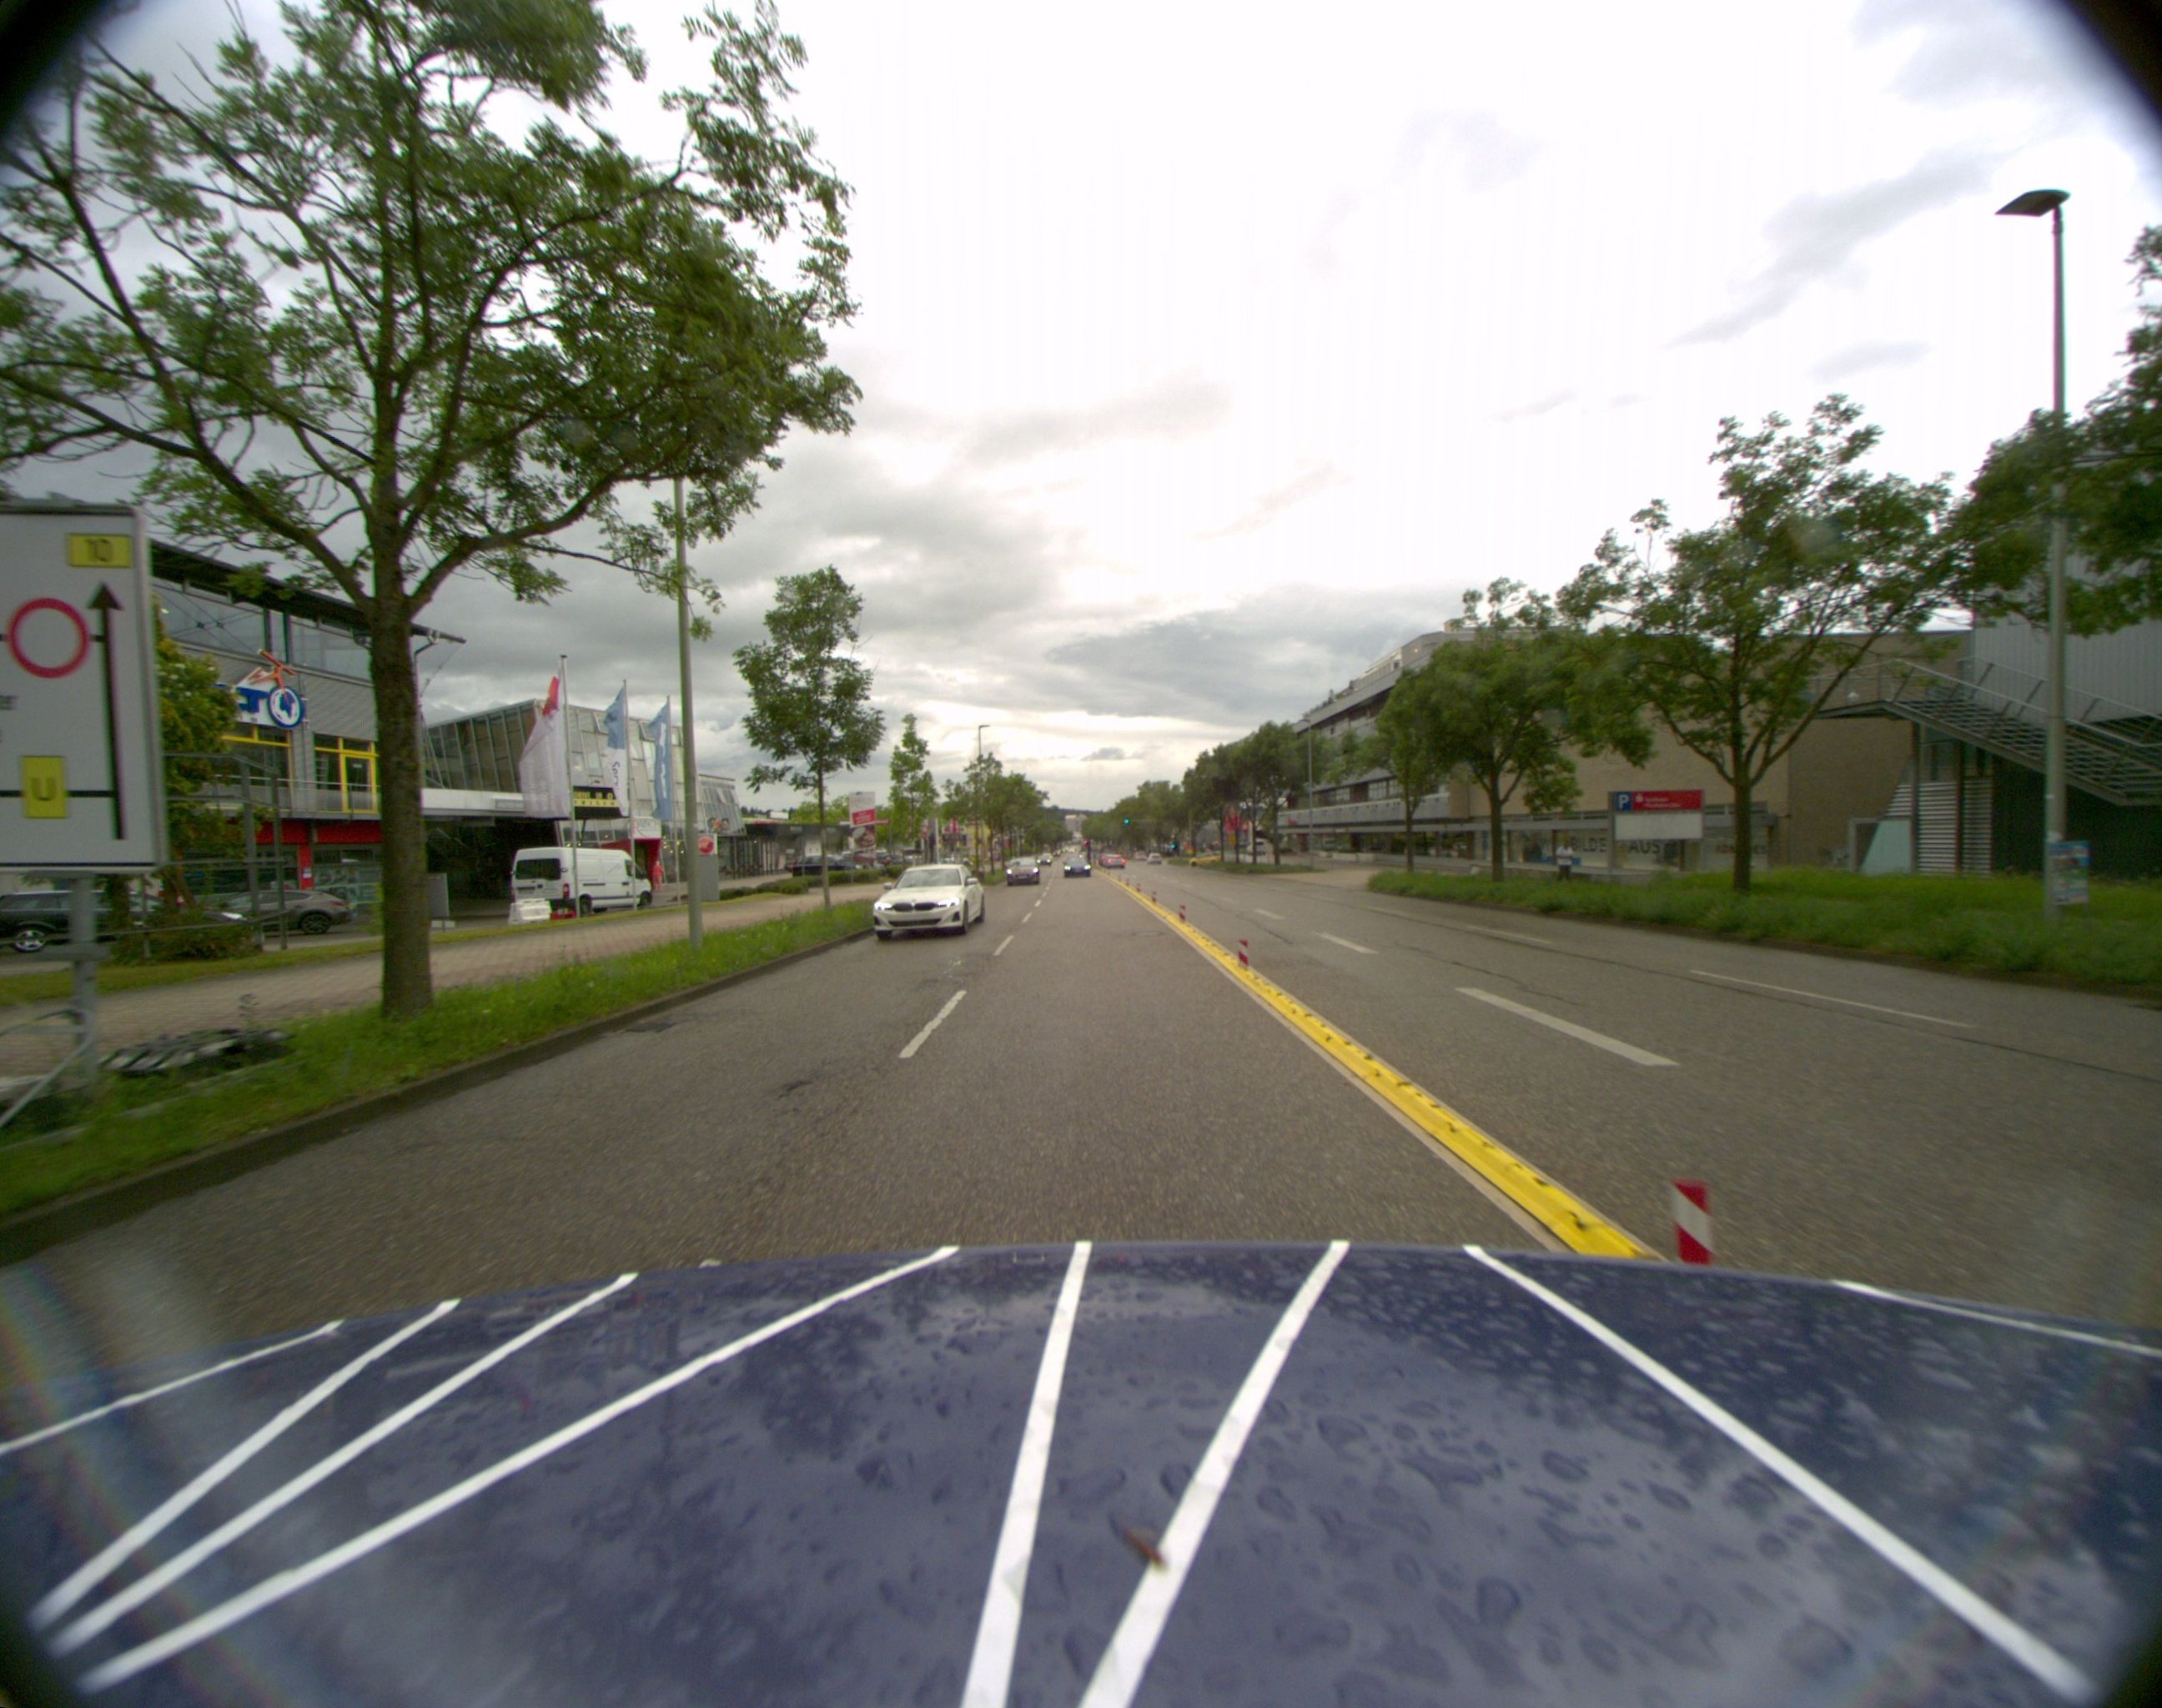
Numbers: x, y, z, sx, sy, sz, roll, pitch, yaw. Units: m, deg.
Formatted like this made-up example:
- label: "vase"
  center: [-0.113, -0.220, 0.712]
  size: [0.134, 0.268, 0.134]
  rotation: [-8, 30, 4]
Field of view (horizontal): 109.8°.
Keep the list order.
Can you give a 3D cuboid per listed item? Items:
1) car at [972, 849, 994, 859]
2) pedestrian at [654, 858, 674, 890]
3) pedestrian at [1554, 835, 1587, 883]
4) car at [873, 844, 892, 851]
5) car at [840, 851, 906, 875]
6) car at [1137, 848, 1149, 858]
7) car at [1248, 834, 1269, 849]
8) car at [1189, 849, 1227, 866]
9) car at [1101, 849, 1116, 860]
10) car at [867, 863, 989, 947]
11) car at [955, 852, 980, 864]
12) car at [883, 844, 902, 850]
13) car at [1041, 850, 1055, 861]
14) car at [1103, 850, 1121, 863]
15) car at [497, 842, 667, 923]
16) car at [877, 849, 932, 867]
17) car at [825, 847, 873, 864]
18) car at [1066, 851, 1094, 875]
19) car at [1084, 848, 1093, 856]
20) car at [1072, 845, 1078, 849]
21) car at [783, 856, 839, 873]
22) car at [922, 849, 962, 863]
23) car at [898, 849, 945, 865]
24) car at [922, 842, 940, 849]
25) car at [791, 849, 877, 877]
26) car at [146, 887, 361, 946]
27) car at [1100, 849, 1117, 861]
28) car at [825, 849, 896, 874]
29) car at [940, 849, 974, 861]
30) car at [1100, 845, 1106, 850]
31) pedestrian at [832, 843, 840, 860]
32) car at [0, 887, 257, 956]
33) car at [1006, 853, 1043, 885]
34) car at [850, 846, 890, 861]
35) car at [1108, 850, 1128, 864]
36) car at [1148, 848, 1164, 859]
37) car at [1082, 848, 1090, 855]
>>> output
- label: "car"
  center: [-18.808, 0.067, 145.205]
  size: [4.001, 1.802, 1.766]
  rotation: [-1, 1, -12]
- label: "pedestrian"
  center: [-23.962, 1.128, 43.709]
  size: [0.685, 1.750, 0.749]
  rotation: [-2, 2, -7]
- label: "pedestrian"
  center: [16.726, 0.168, 25.979]
  size: [0.586, 1.574, 0.767]
  rotation: [-4, 1, 2]
- label: "car"
  center: [-47.573, -1.608, 182.238]
  size: [4.221, 1.572, 1.823]
  rotation: [-1, 1, -1]
- label: "car"
  center: [-14.674, 0.596, 53.745]
  size: [4.178, 1.591, 1.800]
  rotation: [1, 1, 3]
- label: "car"
  center: [10.397, -0.192, 127.553]
  size: [1.745, 1.544, 4.781]
  rotation: [0, 1, 0]
- label: "car"
  center: [24.316, -1.691, 104.403]
  size: [1.998, 2.002, 4.886]
  rotation: [-2, 1, 4]
- label: "car"
  center: [13.977, 0.362, 83.889]
  size: [3.702, 1.500, 1.624]
  rotation: [-4, 2, 34]
- label: "car"
  center: [3.663, 0.021, 102.896]
  size: [1.754, 1.501, 3.999]
  rotation: [-1, 1, -1]
- label: "car"
  center: [-3.240, 1.021, 16.964]
  size: [1.808, 1.432, 4.541]
  rotation: [-3, 0, -1]
- label: "car"
  center: [-16.275, 0.563, 108.617]
  size: [1.747, 1.570, 3.864]
  rotation: [-1, -1, -41]
- label: "car"
  center: [-47.267, -1.764, 190.368]
  size: [4.221, 1.572, 1.823]
  rotation: [-1, 1, -1]
- label: "car"
  center: [-4.512, 0.154, 103.869]
  size: [1.754, 1.501, 3.999]
  rotation: [-1, 1, -1]
- label: "car"
  center: [3.537, 0.220, 85.892]
  size: [1.745, 1.398, 3.999]
  rotation: [-1, 1, -2]
- label: "car"
  center: [-17.995, 1.011, 27.865]
  size: [2.232, 2.521, 5.682]
  rotation: [-3, -1, 2]
- label: "car"
  center: [-15.086, 0.350, 65.091]
  size: [4.180, 1.464, 1.862]
  rotation: [1, 1, -1]
- label: "car"
  center: [-24.545, 0.202, 80.515]
  size: [4.507, 1.672, 1.794]
  rotation: [1, 2, -39]
- label: "car"
  center: [-0.064, 0.619, 54.690]
  size: [1.799, 1.572, 4.218]
  rotation: [-3, 0, 0]
- label: "car"
  center: [1.434, -0.448, 146.824]
  size: [1.754, 1.501, 3.999]
  rotation: [-1, 1, -1]
- label: "car"
  center: [-1.976, -2.280, 250.660]
  size: [1.754, 1.501, 3.999]
  rotation: [-1, 1, 0]
- label: "car"
  center: [-24.893, 0.945, 70.175]
  size: [4.508, 1.388, 1.794]
  rotation: [1, 2, -42]
- label: "car"
  center: [-16.339, 0.249, 89.433]
  size: [4.186, 1.570, 1.738]
  rotation: [1, 1, -39]
- label: "car"
  center: [-15.962, 0.310, 75.971]
  size: [4.191, 1.464, 1.785]
  rotation: [1, 1, -37]
- label: "car"
  center: [-35.548, -2.031, 180.249]
  size: [3.997, 1.501, 1.800]
  rotation: [-1, 1, -1]
- label: "car"
  center: [-15.206, 0.539, 46.815]
  size: [4.663, 1.591, 1.928]
  rotation: [1, 1, 10]
- label: "car"
  center: [-24.870, 1.826, 23.070]
  size: [1.779, 1.461, 4.269]
  rotation: [-3, -2, 44]
- label: "car"
  center: [3.348, 0.108, 93.027]
  size: [1.754, 1.516, 3.999]
  rotation: [-1, 1, -1]
- label: "car"
  center: [-14.667, 0.479, 50.734]
  size: [4.178, 1.591, 1.828]
  rotation: [1, 1, 3]
- label: "car"
  center: [-16.478, 0.189, 101.376]
  size: [1.738, 1.570, 4.324]
  rotation: [2, 1, 43]
- label: "car"
  center: [6.750, -2.061, 233.587]
  size: [1.754, 1.566, 3.999]
  rotation: [-1, 1, -1]
- label: "pedestrian"
  center: [-28.164, -0.279, 87.445]
  size: [0.613, 2.002, 0.657]
  rotation: [-4, 2, 0]
- label: "car"
  center: [-24.655, 1.681, 19.754]
  size: [4.269, 1.461, 1.735]
  rotation: [-1, -2, -44]
- label: "car"
  center: [-3.206, 0.820, 43.529]
  size: [1.799, 1.572, 4.217]
  rotation: [-3, 0, -1]
- label: "car"
  center: [-25.046, -0.035, 90.318]
  size: [4.124, 1.736, 1.794]
  rotation: [0, 2, -45]
- label: "car"
  center: [3.832, 0.260, 79.256]
  size: [1.788, 1.398, 4.615]
  rotation: [-1, 1, -2]
- label: "car"
  center: [10.025, -0.127, 102.311]
  size: [1.745, 1.398, 4.468]
  rotation: [0, 1, 0]
- label: "car"
  center: [1.036, -0.553, 161.400]
  size: [1.754, 1.501, 3.999]
  rotation: [-1, 1, -1]
